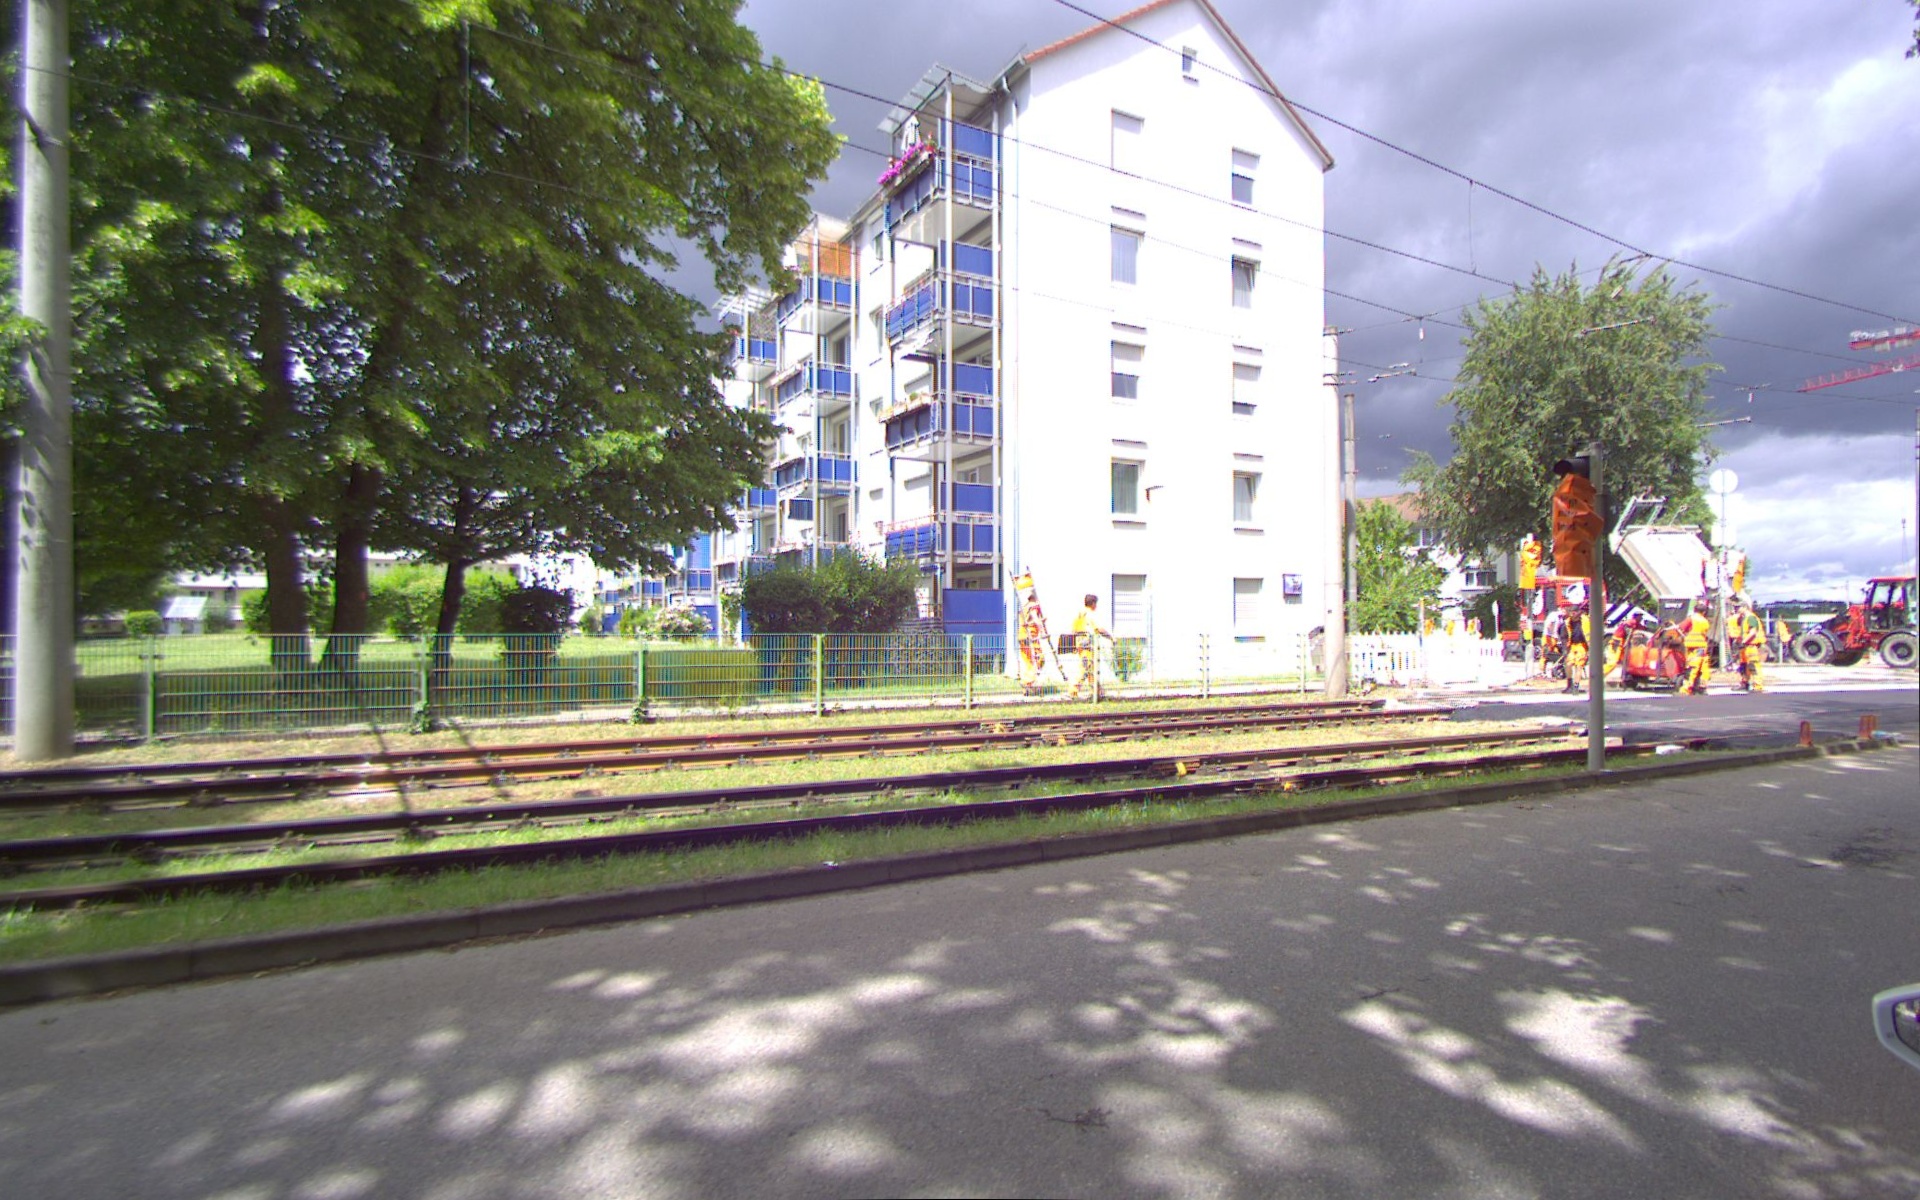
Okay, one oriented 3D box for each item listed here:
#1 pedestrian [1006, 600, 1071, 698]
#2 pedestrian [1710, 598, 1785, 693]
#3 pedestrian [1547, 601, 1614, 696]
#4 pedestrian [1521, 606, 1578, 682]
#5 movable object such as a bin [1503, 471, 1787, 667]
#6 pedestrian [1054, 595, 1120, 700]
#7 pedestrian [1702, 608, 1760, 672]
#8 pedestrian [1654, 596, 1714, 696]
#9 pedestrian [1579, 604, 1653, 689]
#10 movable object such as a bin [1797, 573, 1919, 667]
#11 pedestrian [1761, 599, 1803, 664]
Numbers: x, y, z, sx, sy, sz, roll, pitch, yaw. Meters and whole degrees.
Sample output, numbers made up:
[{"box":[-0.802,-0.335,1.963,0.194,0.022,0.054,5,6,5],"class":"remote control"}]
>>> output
[{"box":[1.372,0.840,17.556,0.857,1.647,0.728,1,-1,-30],"class":"pedestrian"},{"box":[16.143,0.913,20.615,0.821,1.892,0.888,1,0,-1],"class":"pedestrian"},{"box":[11.995,0.923,19.438,0.870,1.784,0.837,1,0,14],"class":"pedestrian"},{"box":[13.371,0.979,22.821,0.870,1.667,0.838,1,0,10],"class":"pedestrian"},{"box":[21.800,-0.810,32.885,2.612,5.486,9.229,1,-1,-3],"class":"movable object such as a bin"},{"box":[2.155,0.797,17.104,0.857,1.741,0.696,1,0,-30],"class":"pedestrian"},{"box":[20.397,1.049,26.593,0.886,1.667,0.884,1,0,-20],"class":"pedestrian"},{"box":[14.138,0.887,19.650,0.873,1.892,0.835,1,0,32],"class":"pedestrian"},{"box":[13.956,0.976,21.394,1.088,1.738,0.888,1,0,16],"class":"pedestrian"},{"box":[28.046,0.608,30.078,2.177,2.664,4.379,1,-1,-3],"class":"movable object such as a bin"},{"box":[24.520,0.929,29.975,0.881,1.892,0.827,1,0,-41],"class":"pedestrian"}]
